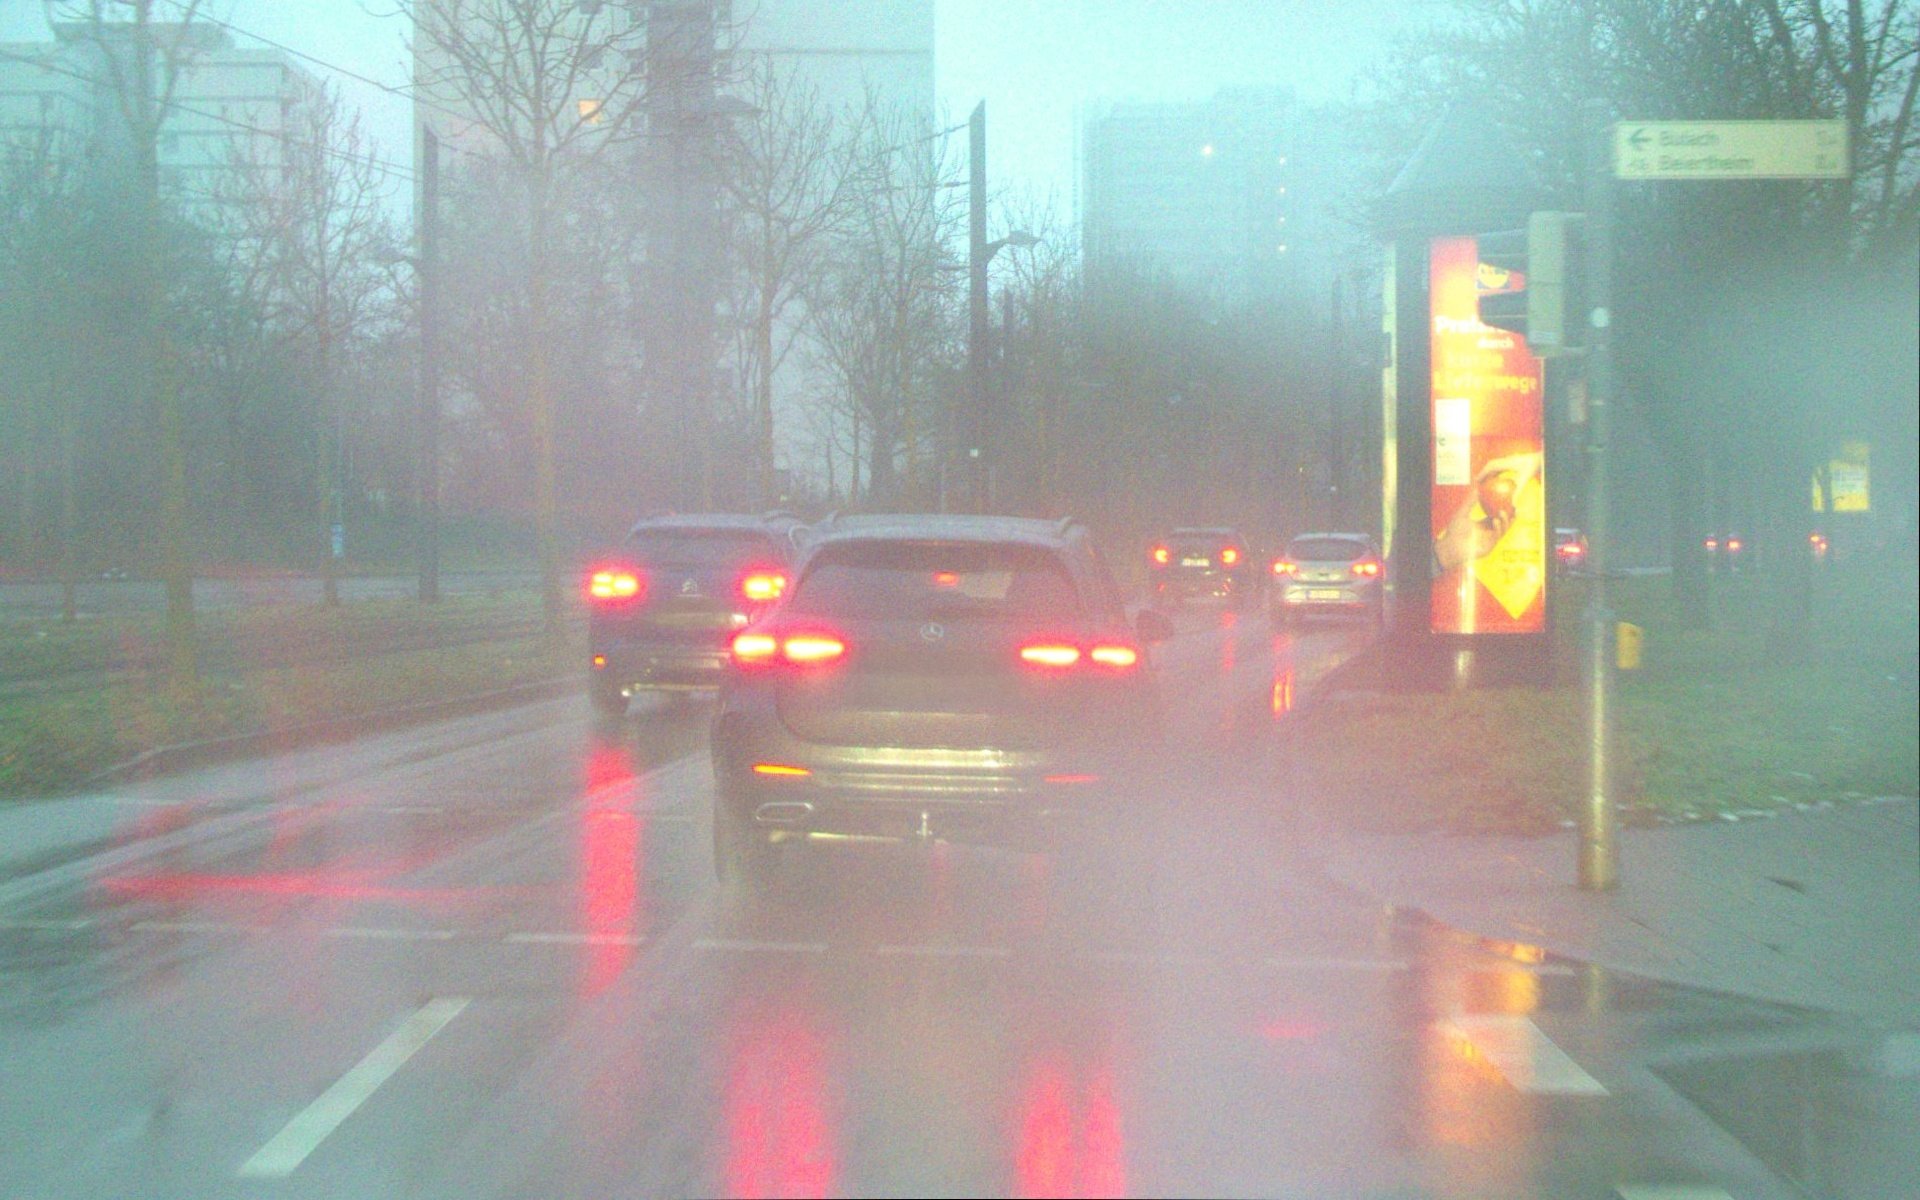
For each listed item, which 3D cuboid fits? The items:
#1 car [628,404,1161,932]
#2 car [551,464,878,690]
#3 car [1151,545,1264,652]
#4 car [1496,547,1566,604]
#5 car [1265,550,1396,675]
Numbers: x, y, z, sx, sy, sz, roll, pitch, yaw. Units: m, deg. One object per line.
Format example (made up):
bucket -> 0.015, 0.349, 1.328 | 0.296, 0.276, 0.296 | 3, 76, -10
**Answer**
car -> -0.214, 0.252, 15.222 | 1.993, 1.969, 4.068 | 2, 0, 1
car -> -1.975, -0.189, 29.005 | 1.994, 1.706, 4.323 | 2, 0, 6
car -> 4.663, -0.033, 64.373 | 1.773, 1.885, 3.641 | 2, 0, 9
car -> 15.758, -0.676, 95.026 | 1.535, 1.508, 3.342 | 2, 0, 4
car -> 5.980, 0.194, 55.177 | 1.857, 1.885, 3.998 | 2, 0, 9
